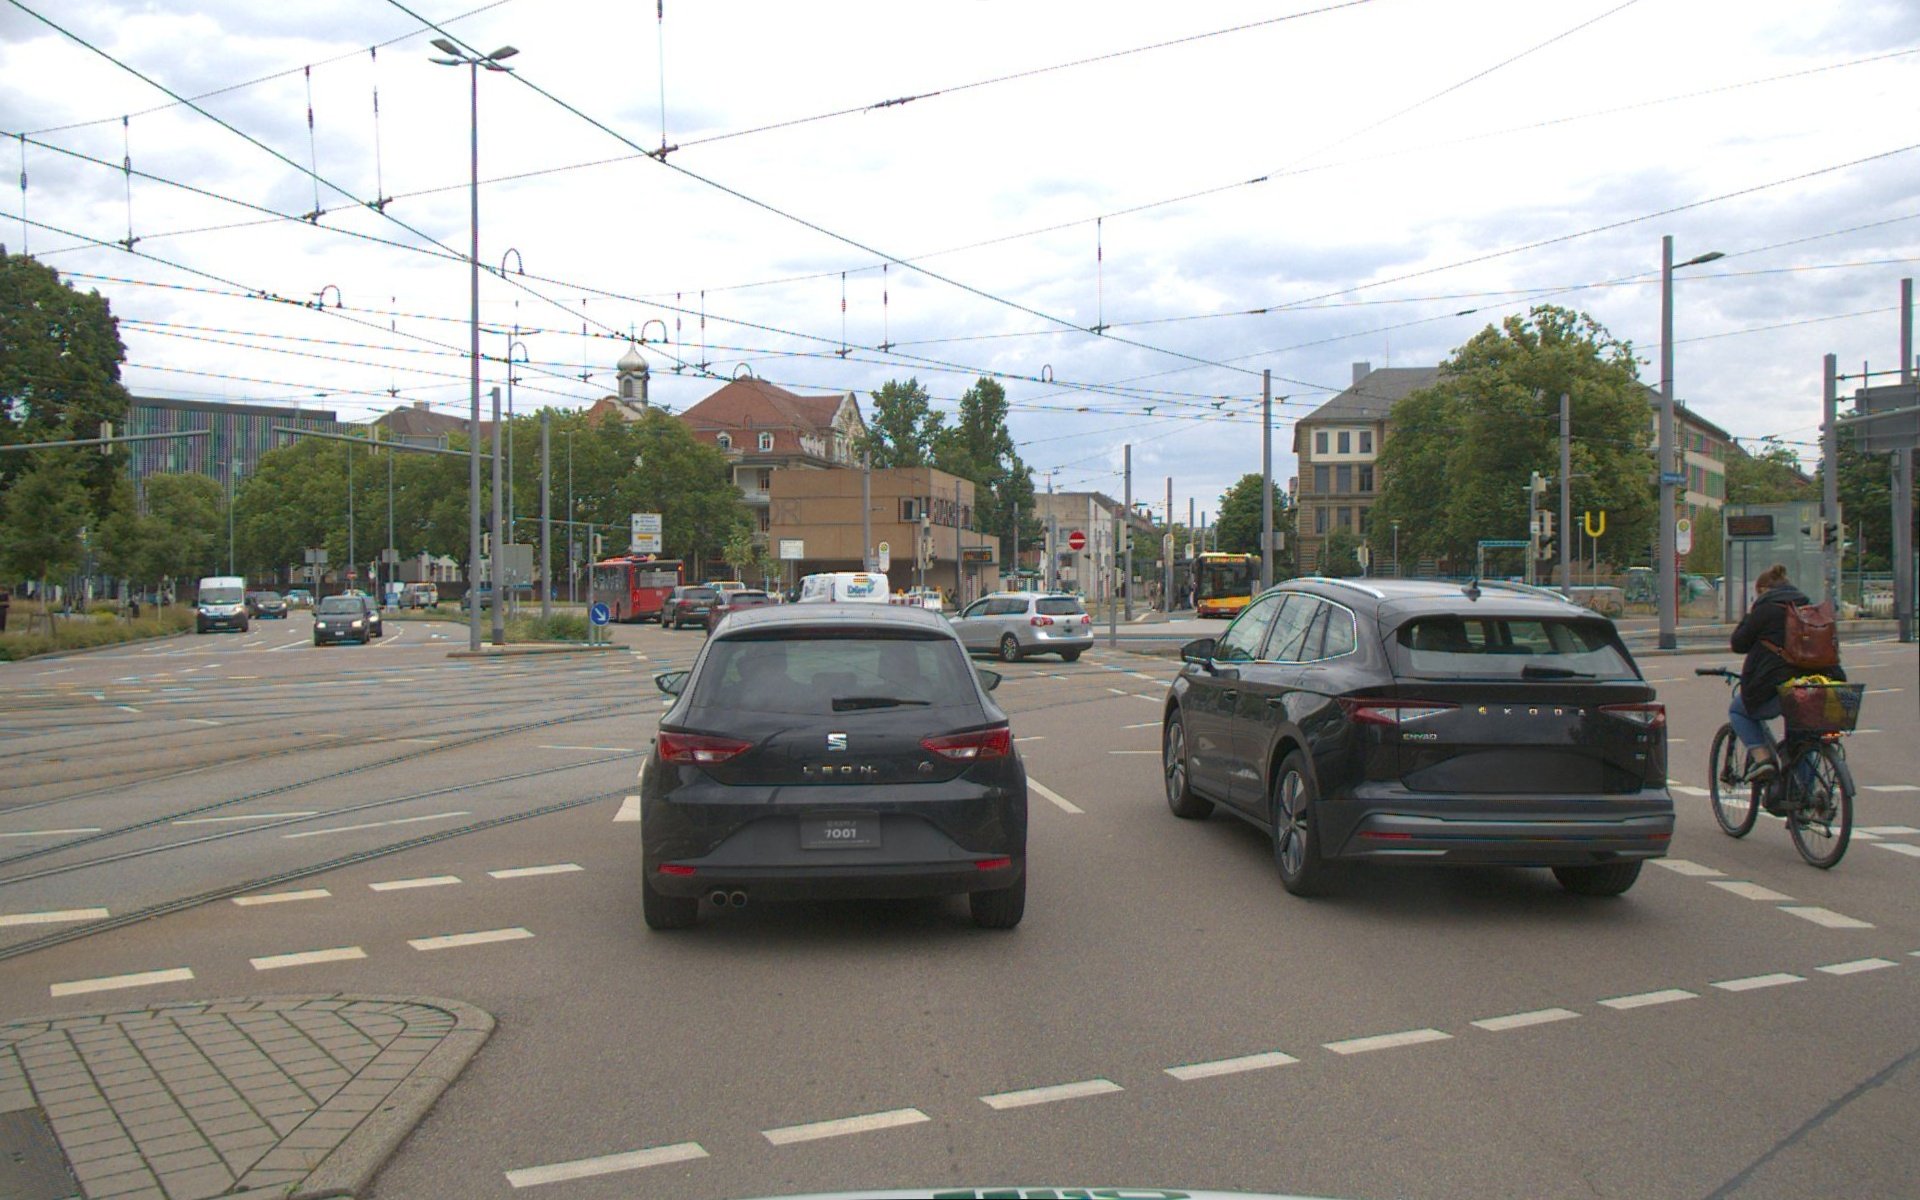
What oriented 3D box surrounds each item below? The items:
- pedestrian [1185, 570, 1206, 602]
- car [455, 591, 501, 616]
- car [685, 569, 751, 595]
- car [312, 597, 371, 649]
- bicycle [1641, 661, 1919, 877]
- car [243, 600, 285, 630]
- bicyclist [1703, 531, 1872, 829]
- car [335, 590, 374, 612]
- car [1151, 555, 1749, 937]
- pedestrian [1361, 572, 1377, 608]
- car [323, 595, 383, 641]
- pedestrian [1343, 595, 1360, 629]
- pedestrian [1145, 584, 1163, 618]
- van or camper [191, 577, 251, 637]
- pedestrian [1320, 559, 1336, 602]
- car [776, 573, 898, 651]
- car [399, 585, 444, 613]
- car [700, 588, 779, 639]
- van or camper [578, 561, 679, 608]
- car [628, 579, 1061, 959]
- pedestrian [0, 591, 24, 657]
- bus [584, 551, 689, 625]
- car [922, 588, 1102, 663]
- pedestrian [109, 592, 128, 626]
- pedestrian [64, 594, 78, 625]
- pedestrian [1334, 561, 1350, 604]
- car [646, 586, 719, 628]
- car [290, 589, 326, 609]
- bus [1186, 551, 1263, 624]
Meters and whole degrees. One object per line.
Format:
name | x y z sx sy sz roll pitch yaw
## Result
pedestrian | 12.713 -0.758 89.186 0.983 1.673 1.022 -1 0 16
car | -32.193 0.225 110.361 1.975 1.566 3.956 -1 0 -32
car | -19.199 -1.452 131.483 4.967 1.897 1.967 -1 -3 -44
car | -19.808 0.714 53.075 1.593 1.542 3.646 -2 1 -18
bicycle | 4.984 0.976 10.229 0.612 1.073 2.125 -1 1 -2
car | -43.145 0.899 102.505 1.851 1.755 4.665 -2 1 -30
bicyclist | 4.978 0.457 9.986 0.603 1.720 0.805 -1 1 -2
car | -49.963 0.056 136.423 1.978 1.780 3.949 -1 0 -36
car | 2.492 0.632 9.729 1.866 1.687 4.510 -1 1 -5
pedestrian | 21.965 -0.543 88.786 0.806 1.886 1.022 -1 0 16
car | -22.293 0.631 60.899 1.842 1.534 4.455 -3 1 -18
pedestrian | 21.285 0.651 89.962 0.806 1.840 1.022 -2 -2 16
pedestrian | 10.708 0.056 91.248 0.806 1.840 1.022 -1 0 16
van or camper | -33.754 0.303 75.698 2.248 2.571 5.535 -2 1 -22
pedestrian | 37.824 -1.988 170.069 1.358 4.328 1.347 -1 0 1
car | -3.516 0.300 46.272 1.966 2.054 4.998 -1 1 -22
car | -40.047 -0.106 122.986 1.980 2.049 3.945 -1 0 -38
car | -7.444 0.412 55.591 1.830 1.628 4.182 -1 1 -19
van or camper | -25.157 -1.222 125.791 7.099 3.390 2.829 -1 -1 -45
car | -0.646 0.647 8.557 1.712 1.489 3.995 0 0 -6
pedestrian | -29.521 0.726 51.157 0.805 2.015 0.656 -1 1 -14
bus | -16.093 -0.571 81.364 3.015 3.355 12.301 0 0 -21
car | 1.089 0.534 37.050 1.705 1.508 4.575 -2 1 -33
pedestrian | -46.868 0.490 92.121 0.882 1.874 0.662 -1 0 -26
pedestrian | -45.603 0.468 84.859 0.554 1.568 0.750 0 0 -23
pedestrian | 39.237 -1.816 169.860 1.280 4.328 1.347 -1 0 2
car | -10.944 0.247 65.058 1.966 1.593 4.177 -1 1 -22
car | -54.945 -0.069 139.377 1.977 1.668 3.951 -1 1 -35
bus | 13.188 -0.626 81.677 2.952 3.325 13.054 -1 0 13
